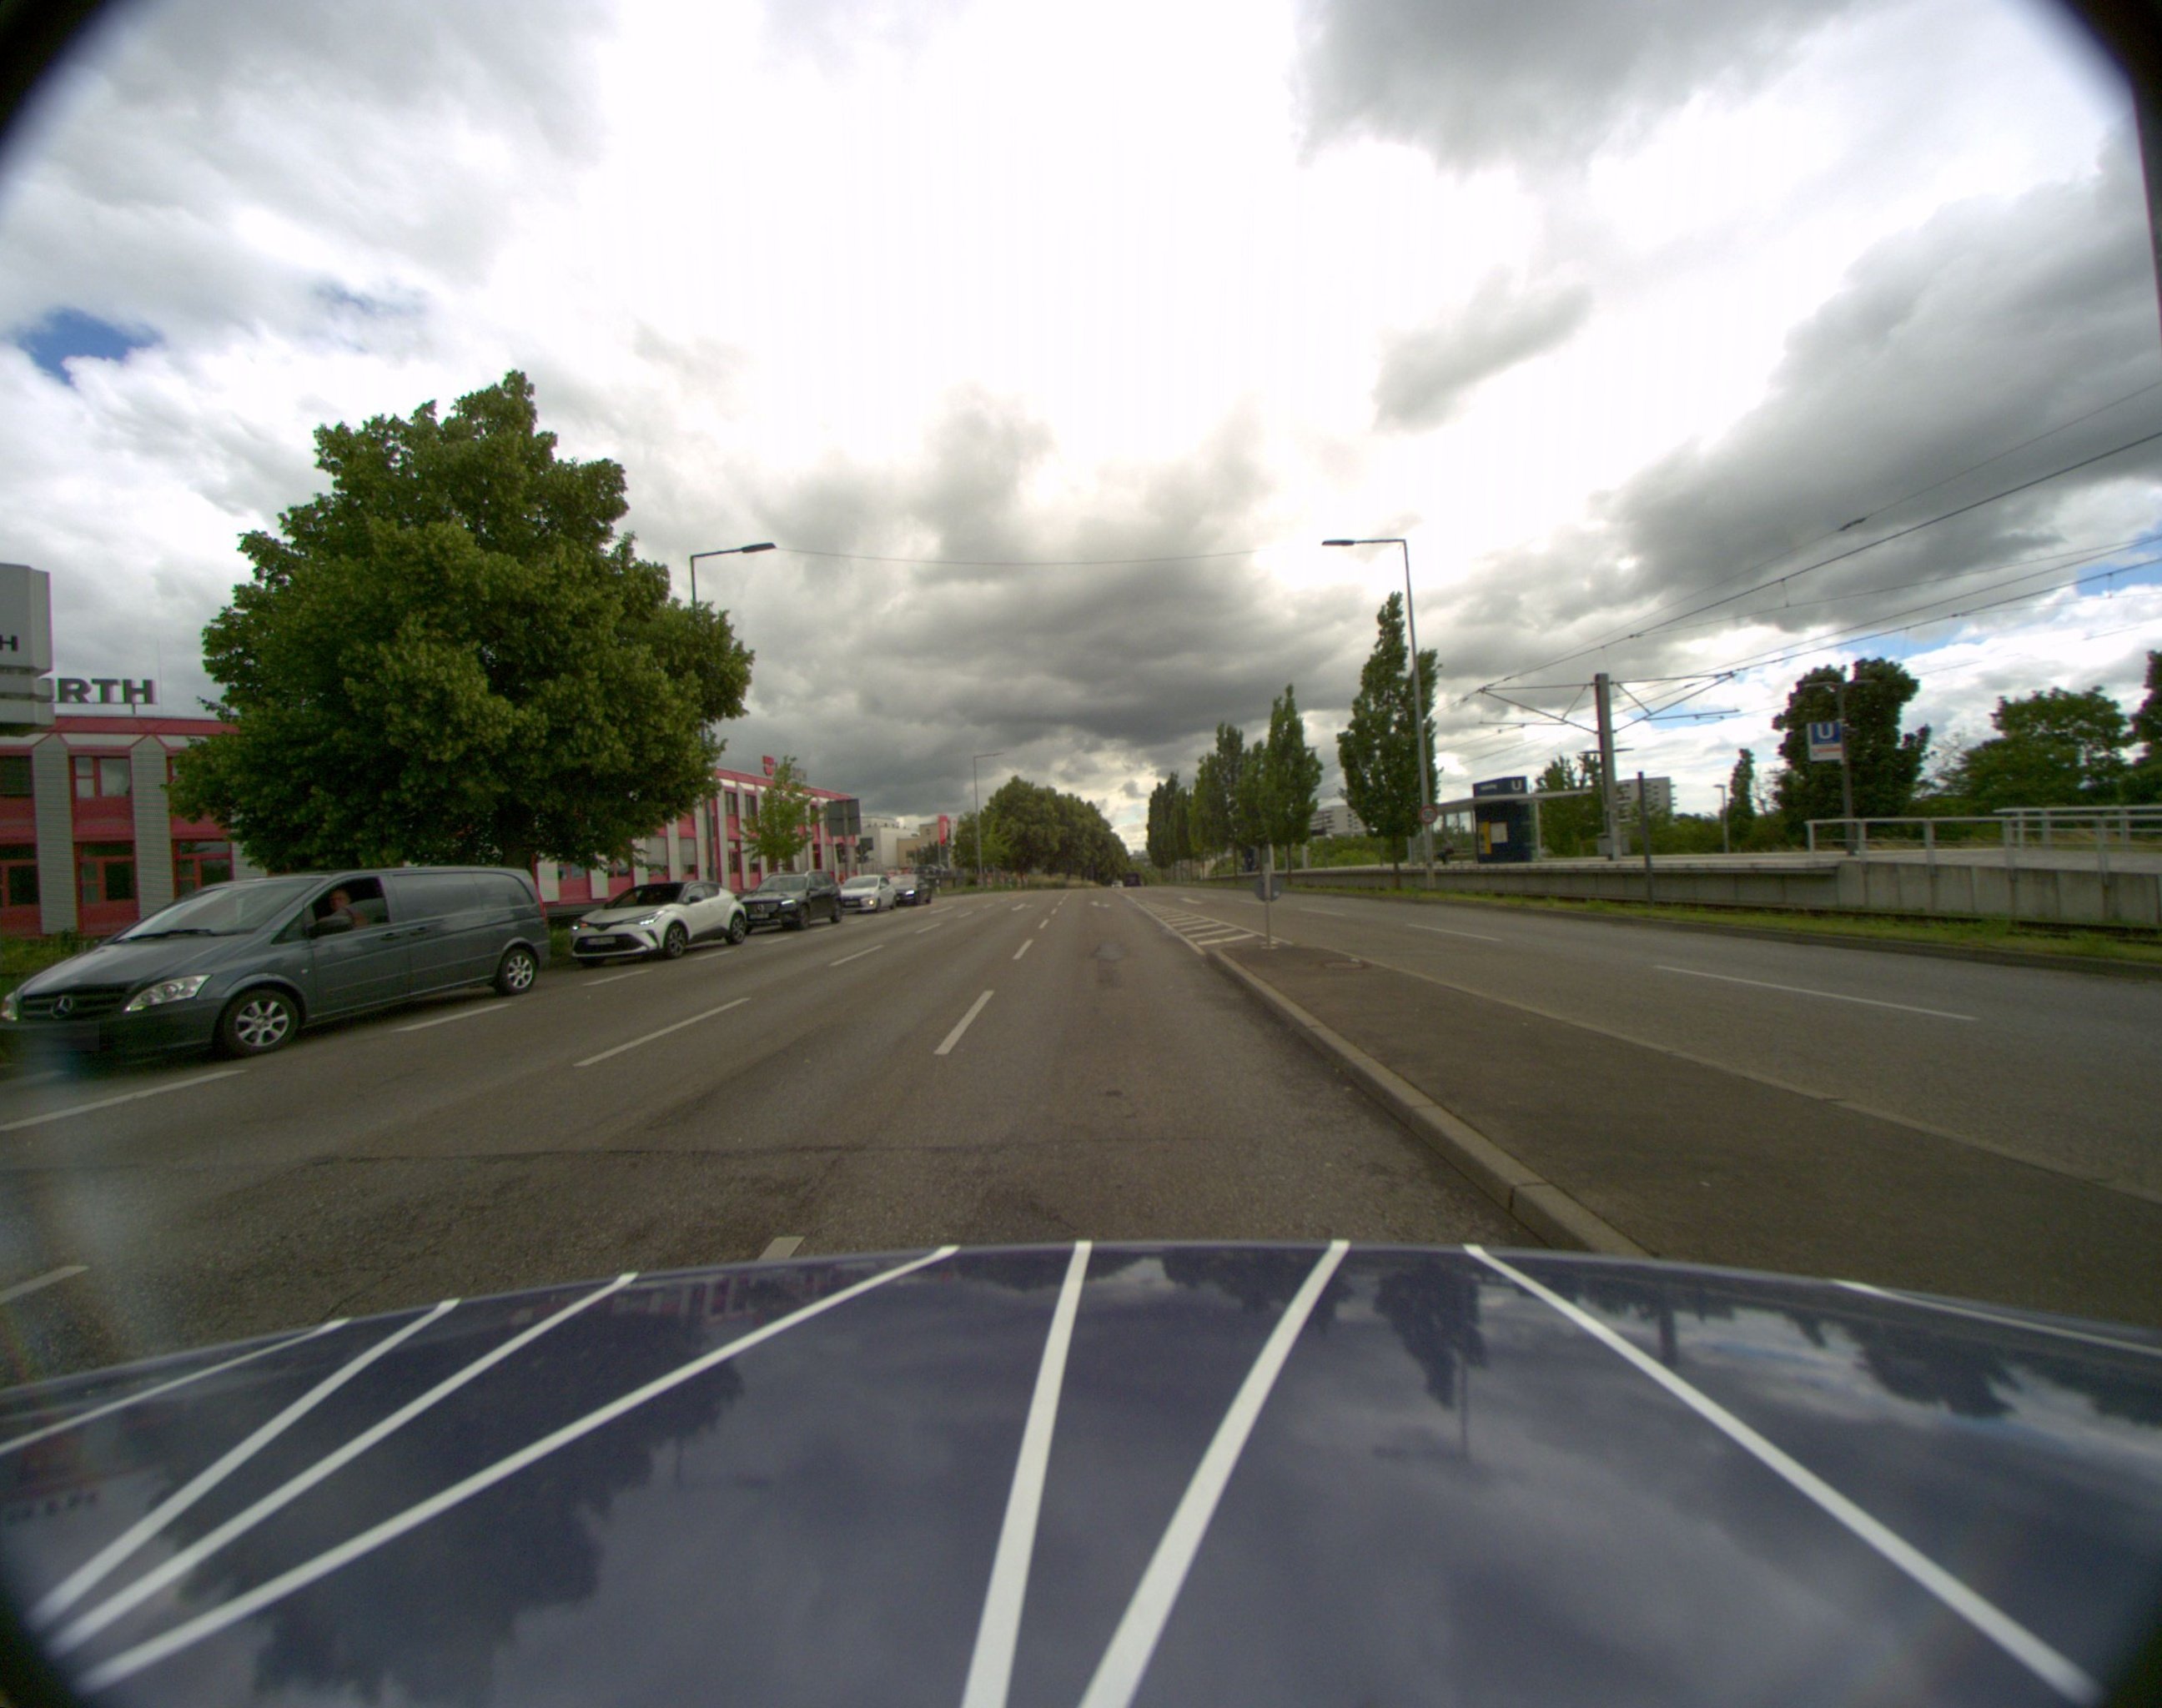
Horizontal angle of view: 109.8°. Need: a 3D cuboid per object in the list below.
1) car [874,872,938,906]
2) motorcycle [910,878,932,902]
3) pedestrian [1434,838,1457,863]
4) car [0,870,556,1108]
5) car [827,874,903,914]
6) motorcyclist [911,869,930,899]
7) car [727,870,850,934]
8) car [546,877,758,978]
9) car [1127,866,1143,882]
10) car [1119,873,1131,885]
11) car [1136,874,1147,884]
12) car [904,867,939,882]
[{"bbox_3d":[-8.018,1.594,35.207,1.785,1.437,4.530,-1,-2,1],"label":"car"},{"bbox_3d":[-8.320,1.865,39.513,0.750,1.140,1.943,-4,-1,-3],"label":"motorcycle"},{"bbox_3d":[17.623,-0.170,36.734,0.663,1.195,0.782,-2,0,-7],"label":"pedestrian"},{"bbox_3d":[-8.849,1.230,8.833,1.920,1.823,4.722,-5,0,2],"label":"car"},{"bbox_3d":[-8.470,1.558,30.106,1.785,1.434,3.836,-1,-2,1],"label":"car"},{"bbox_3d":[-8.339,1.554,39.499,0.750,1.481,0.933,-4,-1,-3],"label":"motorcyclist"},{"bbox_3d":[-8.372,1.330,22.214,1.785,1.639,4.427,-1,-2,1],"label":"car"},{"bbox_3d":[-8.559,1.383,15.681,1.785,1.526,4.305,-5,0,0],"label":"car"},{"bbox_3d":[6.502,2.422,91.495,1.869,1.674,4.842,-2,-3,4],"label":"car"},{"bbox_3d":[7.718,4.388,133.177,1.998,1.791,4.841,-2,0,5],"label":"car"},{"bbox_3d":[10.869,4.535,136.051,1.869,1.754,4.843,-2,-3,5],"label":"car"},{"bbox_3d":[-21.214,2.693,101.006,4.248,1.744,1.784,-2,0,2],"label":"car"}]
